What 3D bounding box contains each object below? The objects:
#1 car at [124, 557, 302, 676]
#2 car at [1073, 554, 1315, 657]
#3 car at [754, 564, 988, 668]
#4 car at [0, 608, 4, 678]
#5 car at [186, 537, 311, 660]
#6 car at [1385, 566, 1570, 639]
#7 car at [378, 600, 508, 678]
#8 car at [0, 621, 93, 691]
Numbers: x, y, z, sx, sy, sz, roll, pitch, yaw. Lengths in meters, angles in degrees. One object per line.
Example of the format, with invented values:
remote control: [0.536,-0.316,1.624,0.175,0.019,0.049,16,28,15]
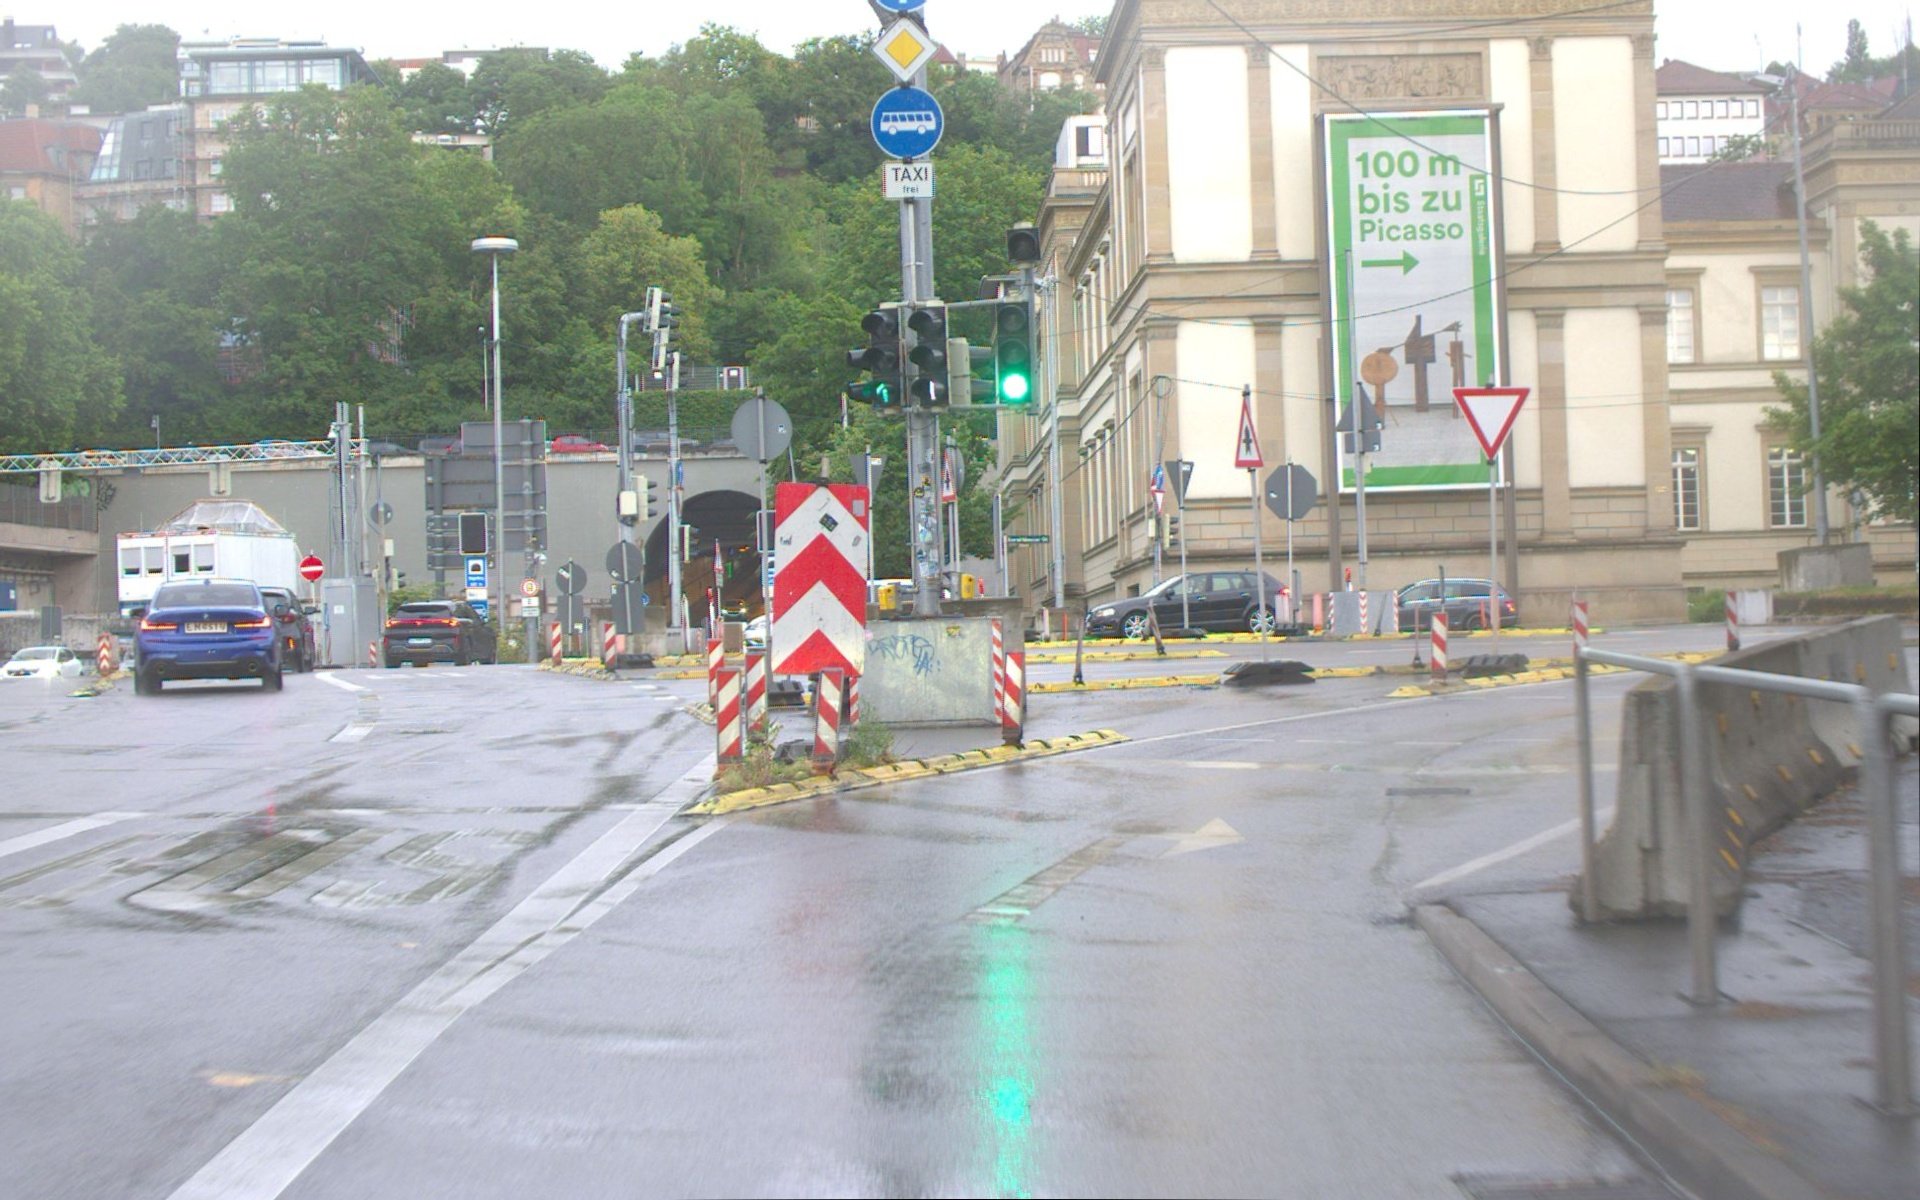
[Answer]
car: [-9.506,0.196,44.022,1.993,1.433,4.001,-1,0,-9]
car: [4.747,0.098,70.219,4.674,2.007,2.000,-1,1,-5]
car: [-1.834,0.303,69.611,4.625,2.007,2.000,-1,1,-5]
car: [-28.679,1.284,97.142,1.994,2.007,4.000,0,1,3]
car: [-12.284,-0.065,59.207,1.993,2.007,4.001,-1,1,-13]
car: [12.502,0.052,83.198,4.180,1.695,1.823,0,1,0]
car: [-11.515,0.848,76.831,1.994,1.628,3.999,1,1,5]
car: [-28.156,1.695,105.223,1.994,2.007,4.000,0,1,3]
